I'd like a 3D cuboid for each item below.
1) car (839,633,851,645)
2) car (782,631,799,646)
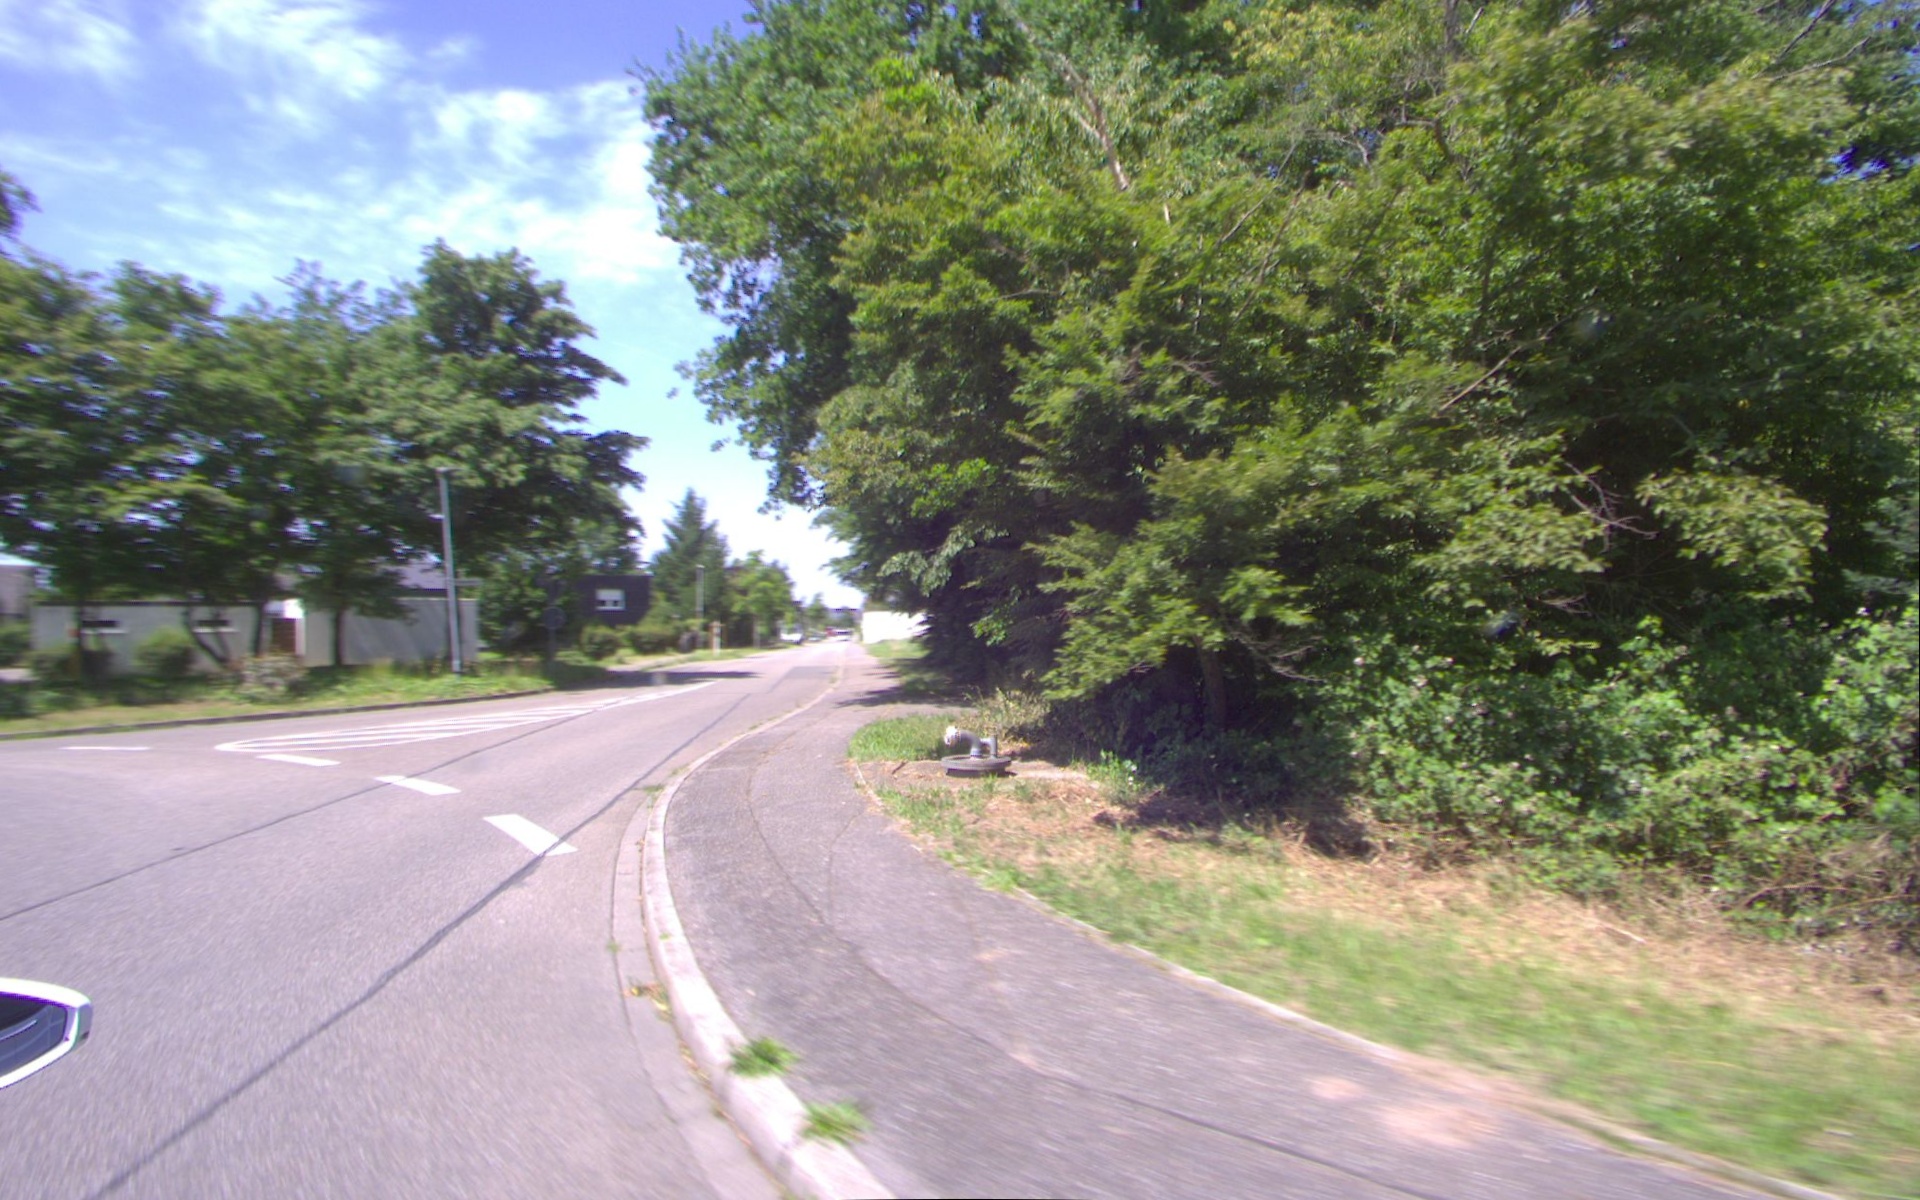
[{"bbox_3d":[-18.146,6.172,157.715,1.807,1.681,4.002,-1,-3,-7],"label":"car"},{"bbox_3d":[-18.561,4.192,109.721,1.726,1.498,3.796,-1,-3,-12],"label":"car"}]
